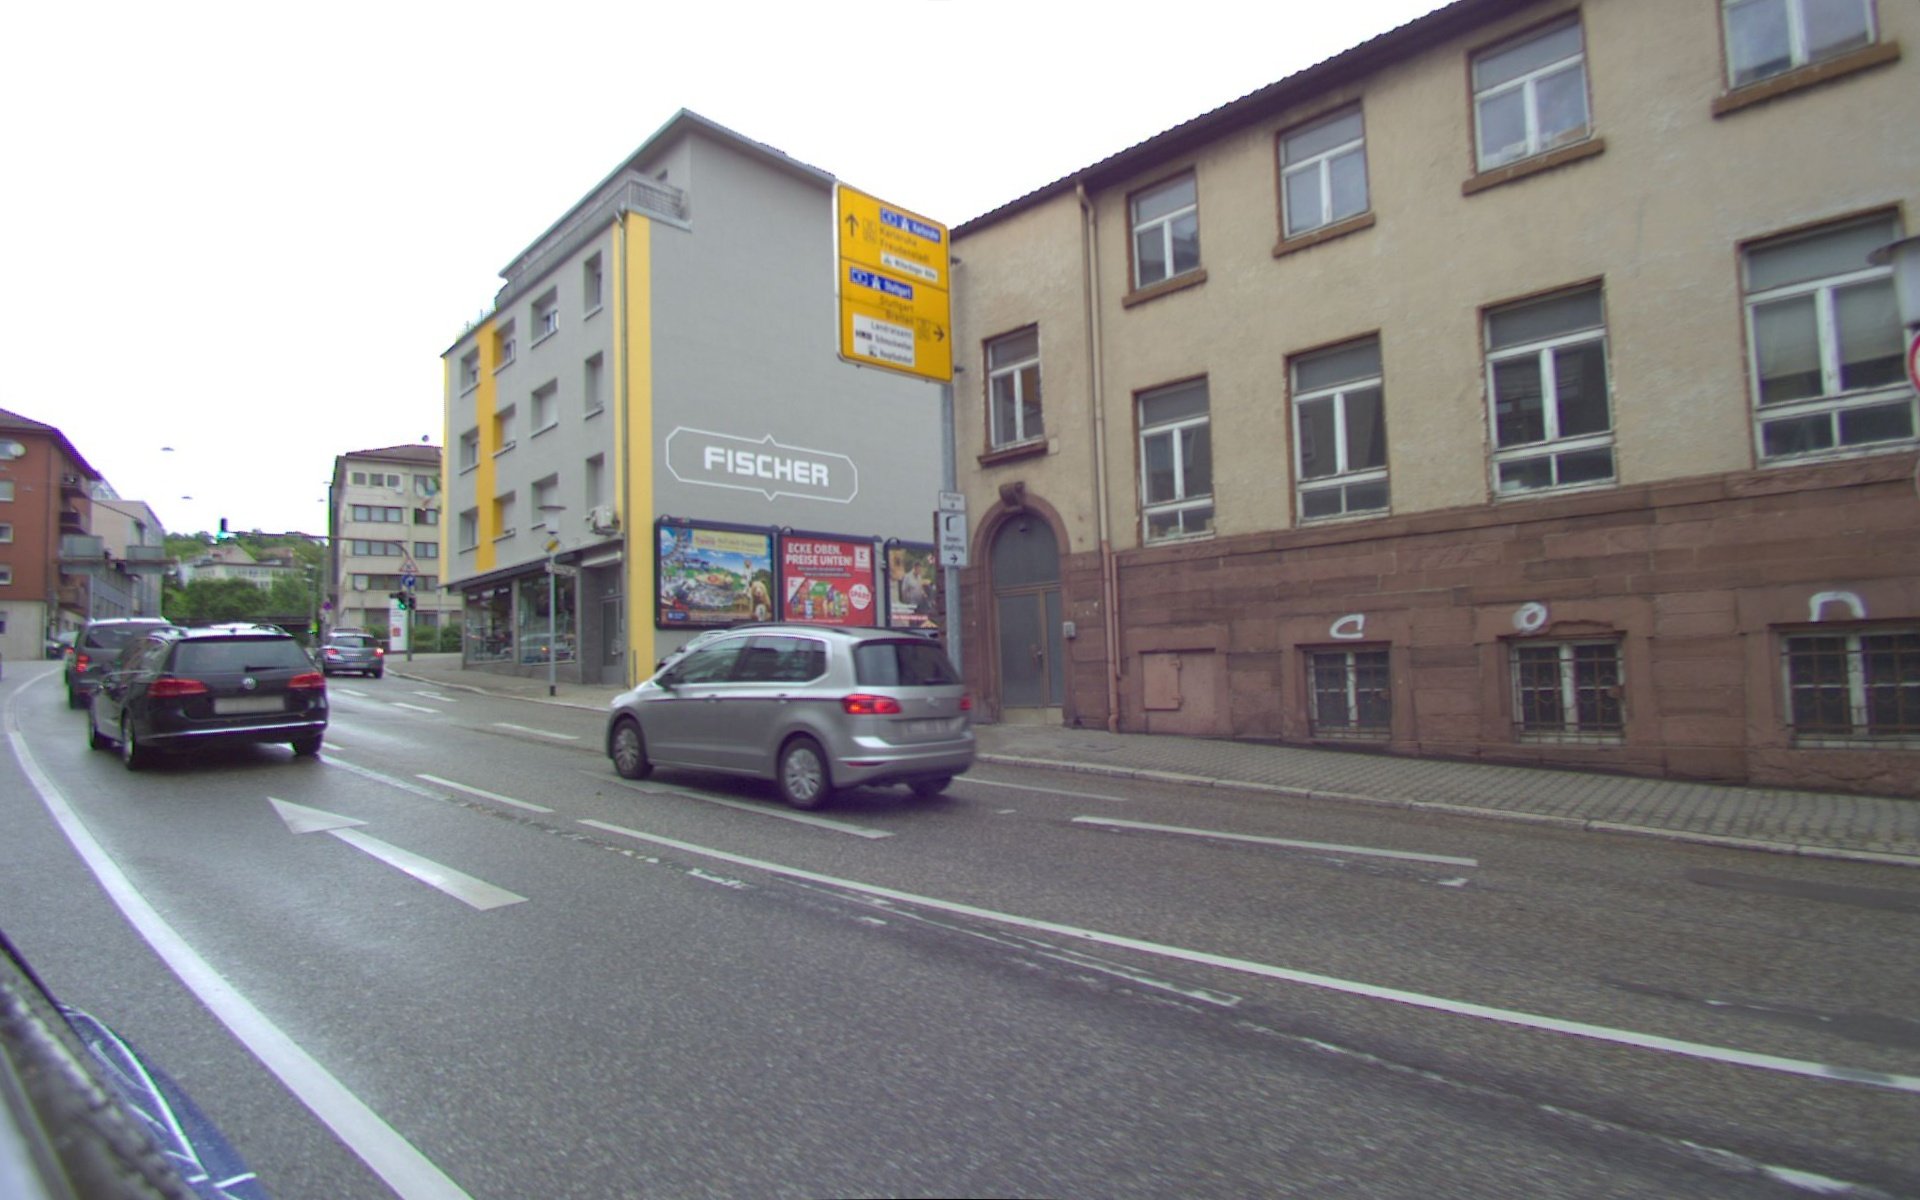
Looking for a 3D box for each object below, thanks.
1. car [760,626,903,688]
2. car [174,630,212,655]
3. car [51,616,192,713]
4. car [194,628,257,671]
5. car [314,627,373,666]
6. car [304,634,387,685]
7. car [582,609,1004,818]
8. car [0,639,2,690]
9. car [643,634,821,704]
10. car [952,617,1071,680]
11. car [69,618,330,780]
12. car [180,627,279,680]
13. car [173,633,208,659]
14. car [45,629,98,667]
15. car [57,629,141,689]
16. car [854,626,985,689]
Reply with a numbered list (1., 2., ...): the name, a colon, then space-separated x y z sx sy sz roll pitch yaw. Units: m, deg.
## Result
1. car: -3.380 1.429 26.190 3.856 1.475 1.671 -2 -2 45
2. car: -46.543 2.549 61.375 1.783 1.425 4.388 2 -2 -38
3. car: -16.758 1.183 20.137 1.786 1.718 4.565 1 -1 -44
4. car: -30.145 2.004 41.498 1.783 1.644 4.350 5 -4 -39
5. car: -27.363 2.071 45.003 1.632 1.622 3.941 3 -3 -23
6. car: -20.477 1.999 33.650 1.640 1.398 3.804 0 -6 -42
7. car: -1.744 0.940 9.776 4.140 1.598 1.697 -1 -4 40
8. car: -27.387 1.777 27.366 1.846 1.453 4.007 0 -3 -39
9. car: -5.384 1.528 23.519 4.663 1.466 1.673 -2 -2 42
10. car: 1.537 1.512 31.183 1.652 1.684 3.553 0 -5 -38
11. car: -8.994 0.984 11.827 4.369 1.527 1.704 -1 -1 43
12. car: -22.873 1.637 31.643 4.131 1.527 1.721 -1 -4 43
13. car: -65.791 3.968 86.577 1.911 1.930 4.868 -1 -4 -32
14. car: -47.277 2.563 53.906 1.765 1.741 4.008 0 -5 -37
15. car: -24.443 1.606 28.689 1.678 1.491 4.296 -1 0 -42
16. car: -1.190 1.641 28.486 1.711 1.527 3.570 0 -6 -42
